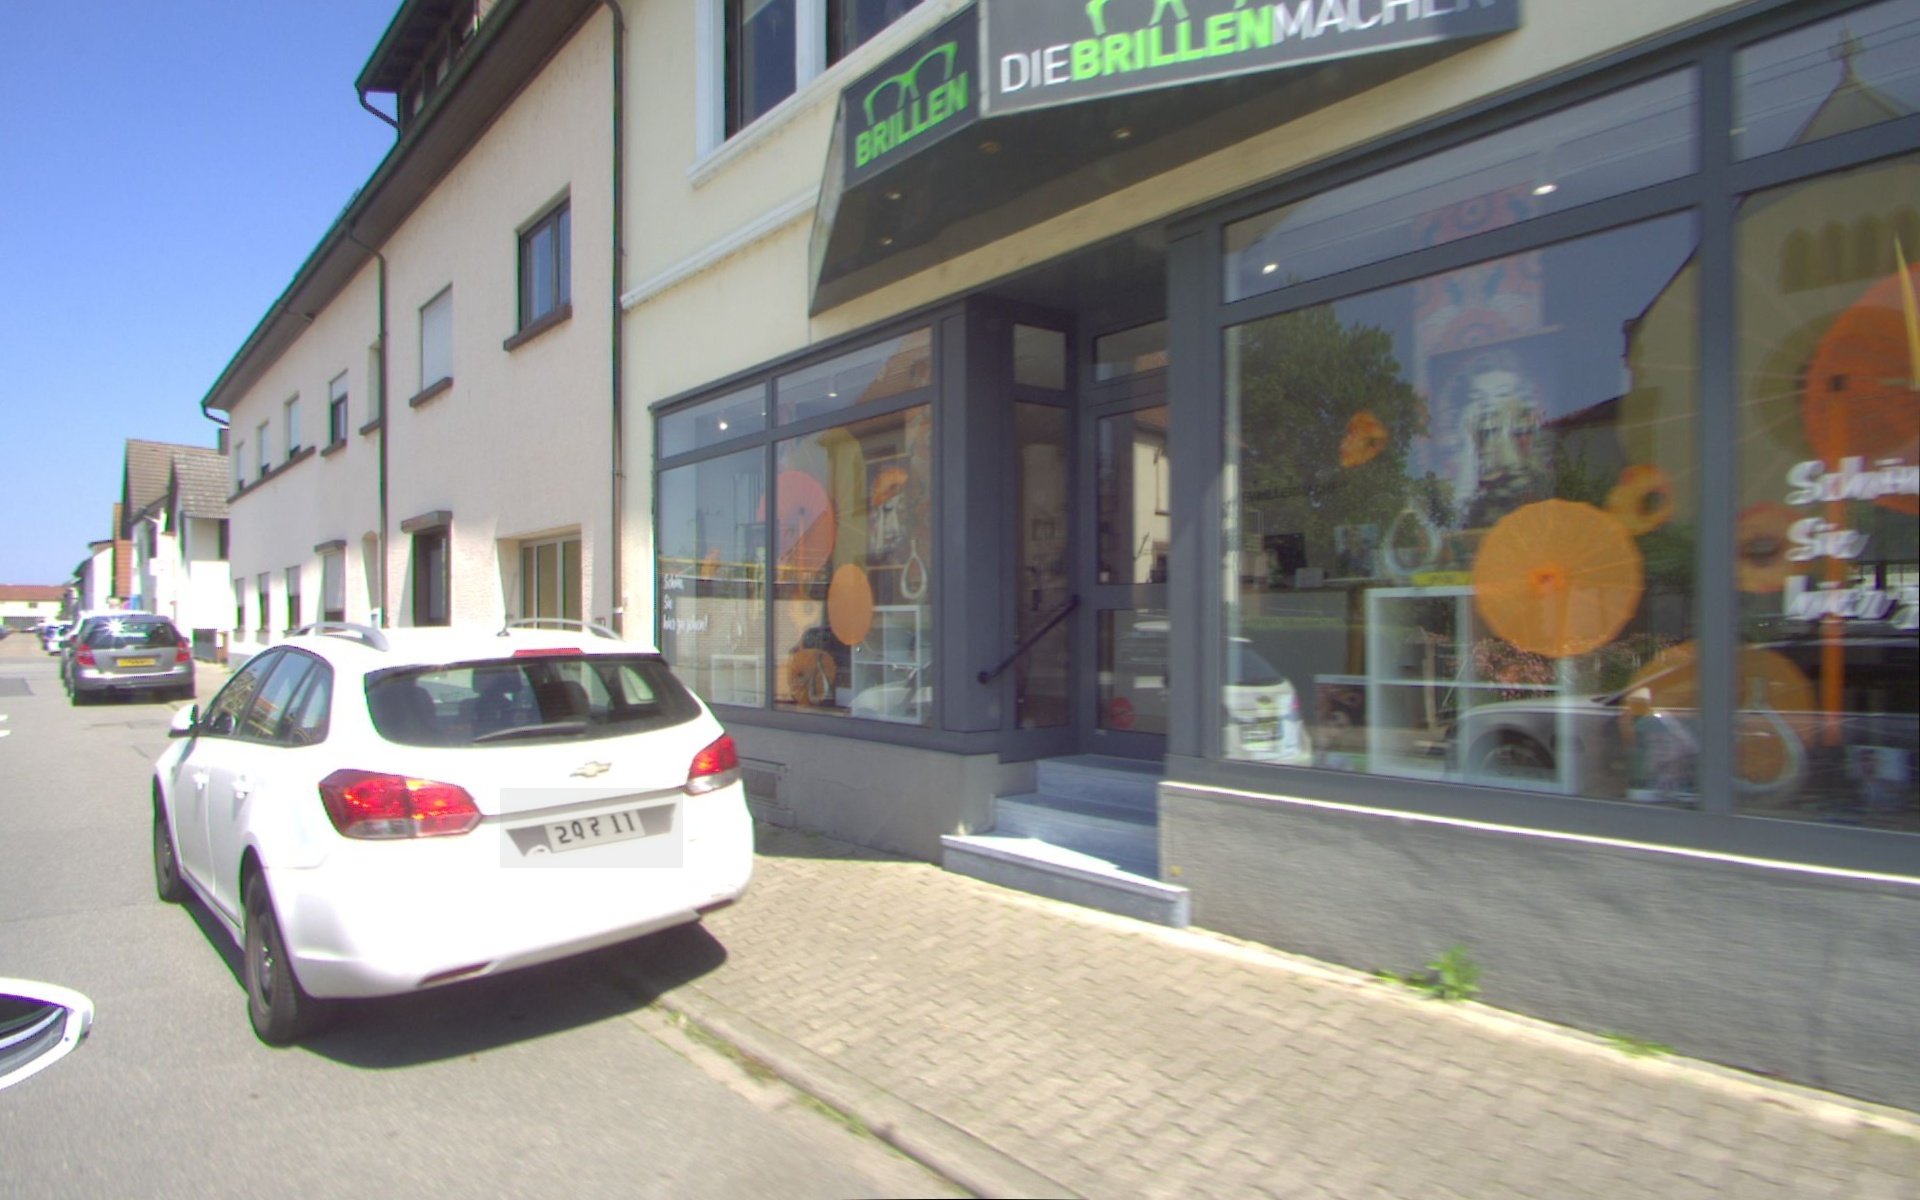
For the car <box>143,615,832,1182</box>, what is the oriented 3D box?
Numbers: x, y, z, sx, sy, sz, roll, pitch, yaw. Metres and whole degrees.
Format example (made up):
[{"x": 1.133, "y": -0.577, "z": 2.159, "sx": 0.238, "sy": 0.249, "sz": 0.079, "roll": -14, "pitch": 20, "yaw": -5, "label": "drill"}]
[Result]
[{"x": -2.633, "y": 0.876, "z": 4.950, "sx": 1.874, "sy": 1.562, "sz": 4.202, "roll": 1, "pitch": -2, "yaw": -43, "label": "car"}]

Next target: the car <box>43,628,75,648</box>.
[{"x": -64.766, "y": 2.720, "z": 71.985, "sx": 1.545, "sy": 1.405, "sz": 3.416, "roll": 1, "pitch": -1, "yaw": -44, "label": "car"}]

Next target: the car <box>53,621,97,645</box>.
[{"x": -54.313, "y": 2.011, "z": 61.439, "sx": 1.954, "sy": 1.405, "sz": 3.964, "roll": 1, "pitch": -1, "yaw": -42, "label": "car"}]

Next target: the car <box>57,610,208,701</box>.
[{"x": -16.058, "y": 1.014, "z": 19.374, "sx": 3.854, "sy": 1.576, "sz": 1.873, "roll": -1, "pitch": -2, "yaw": 45, "label": "car"}]

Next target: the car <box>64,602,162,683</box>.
[{"x": -19.585, "y": 0.924, "z": 23.105, "sx": 1.554, "sy": 1.635, "sz": 3.507, "roll": 1, "pitch": 1, "yaw": -43, "label": "car"}]
